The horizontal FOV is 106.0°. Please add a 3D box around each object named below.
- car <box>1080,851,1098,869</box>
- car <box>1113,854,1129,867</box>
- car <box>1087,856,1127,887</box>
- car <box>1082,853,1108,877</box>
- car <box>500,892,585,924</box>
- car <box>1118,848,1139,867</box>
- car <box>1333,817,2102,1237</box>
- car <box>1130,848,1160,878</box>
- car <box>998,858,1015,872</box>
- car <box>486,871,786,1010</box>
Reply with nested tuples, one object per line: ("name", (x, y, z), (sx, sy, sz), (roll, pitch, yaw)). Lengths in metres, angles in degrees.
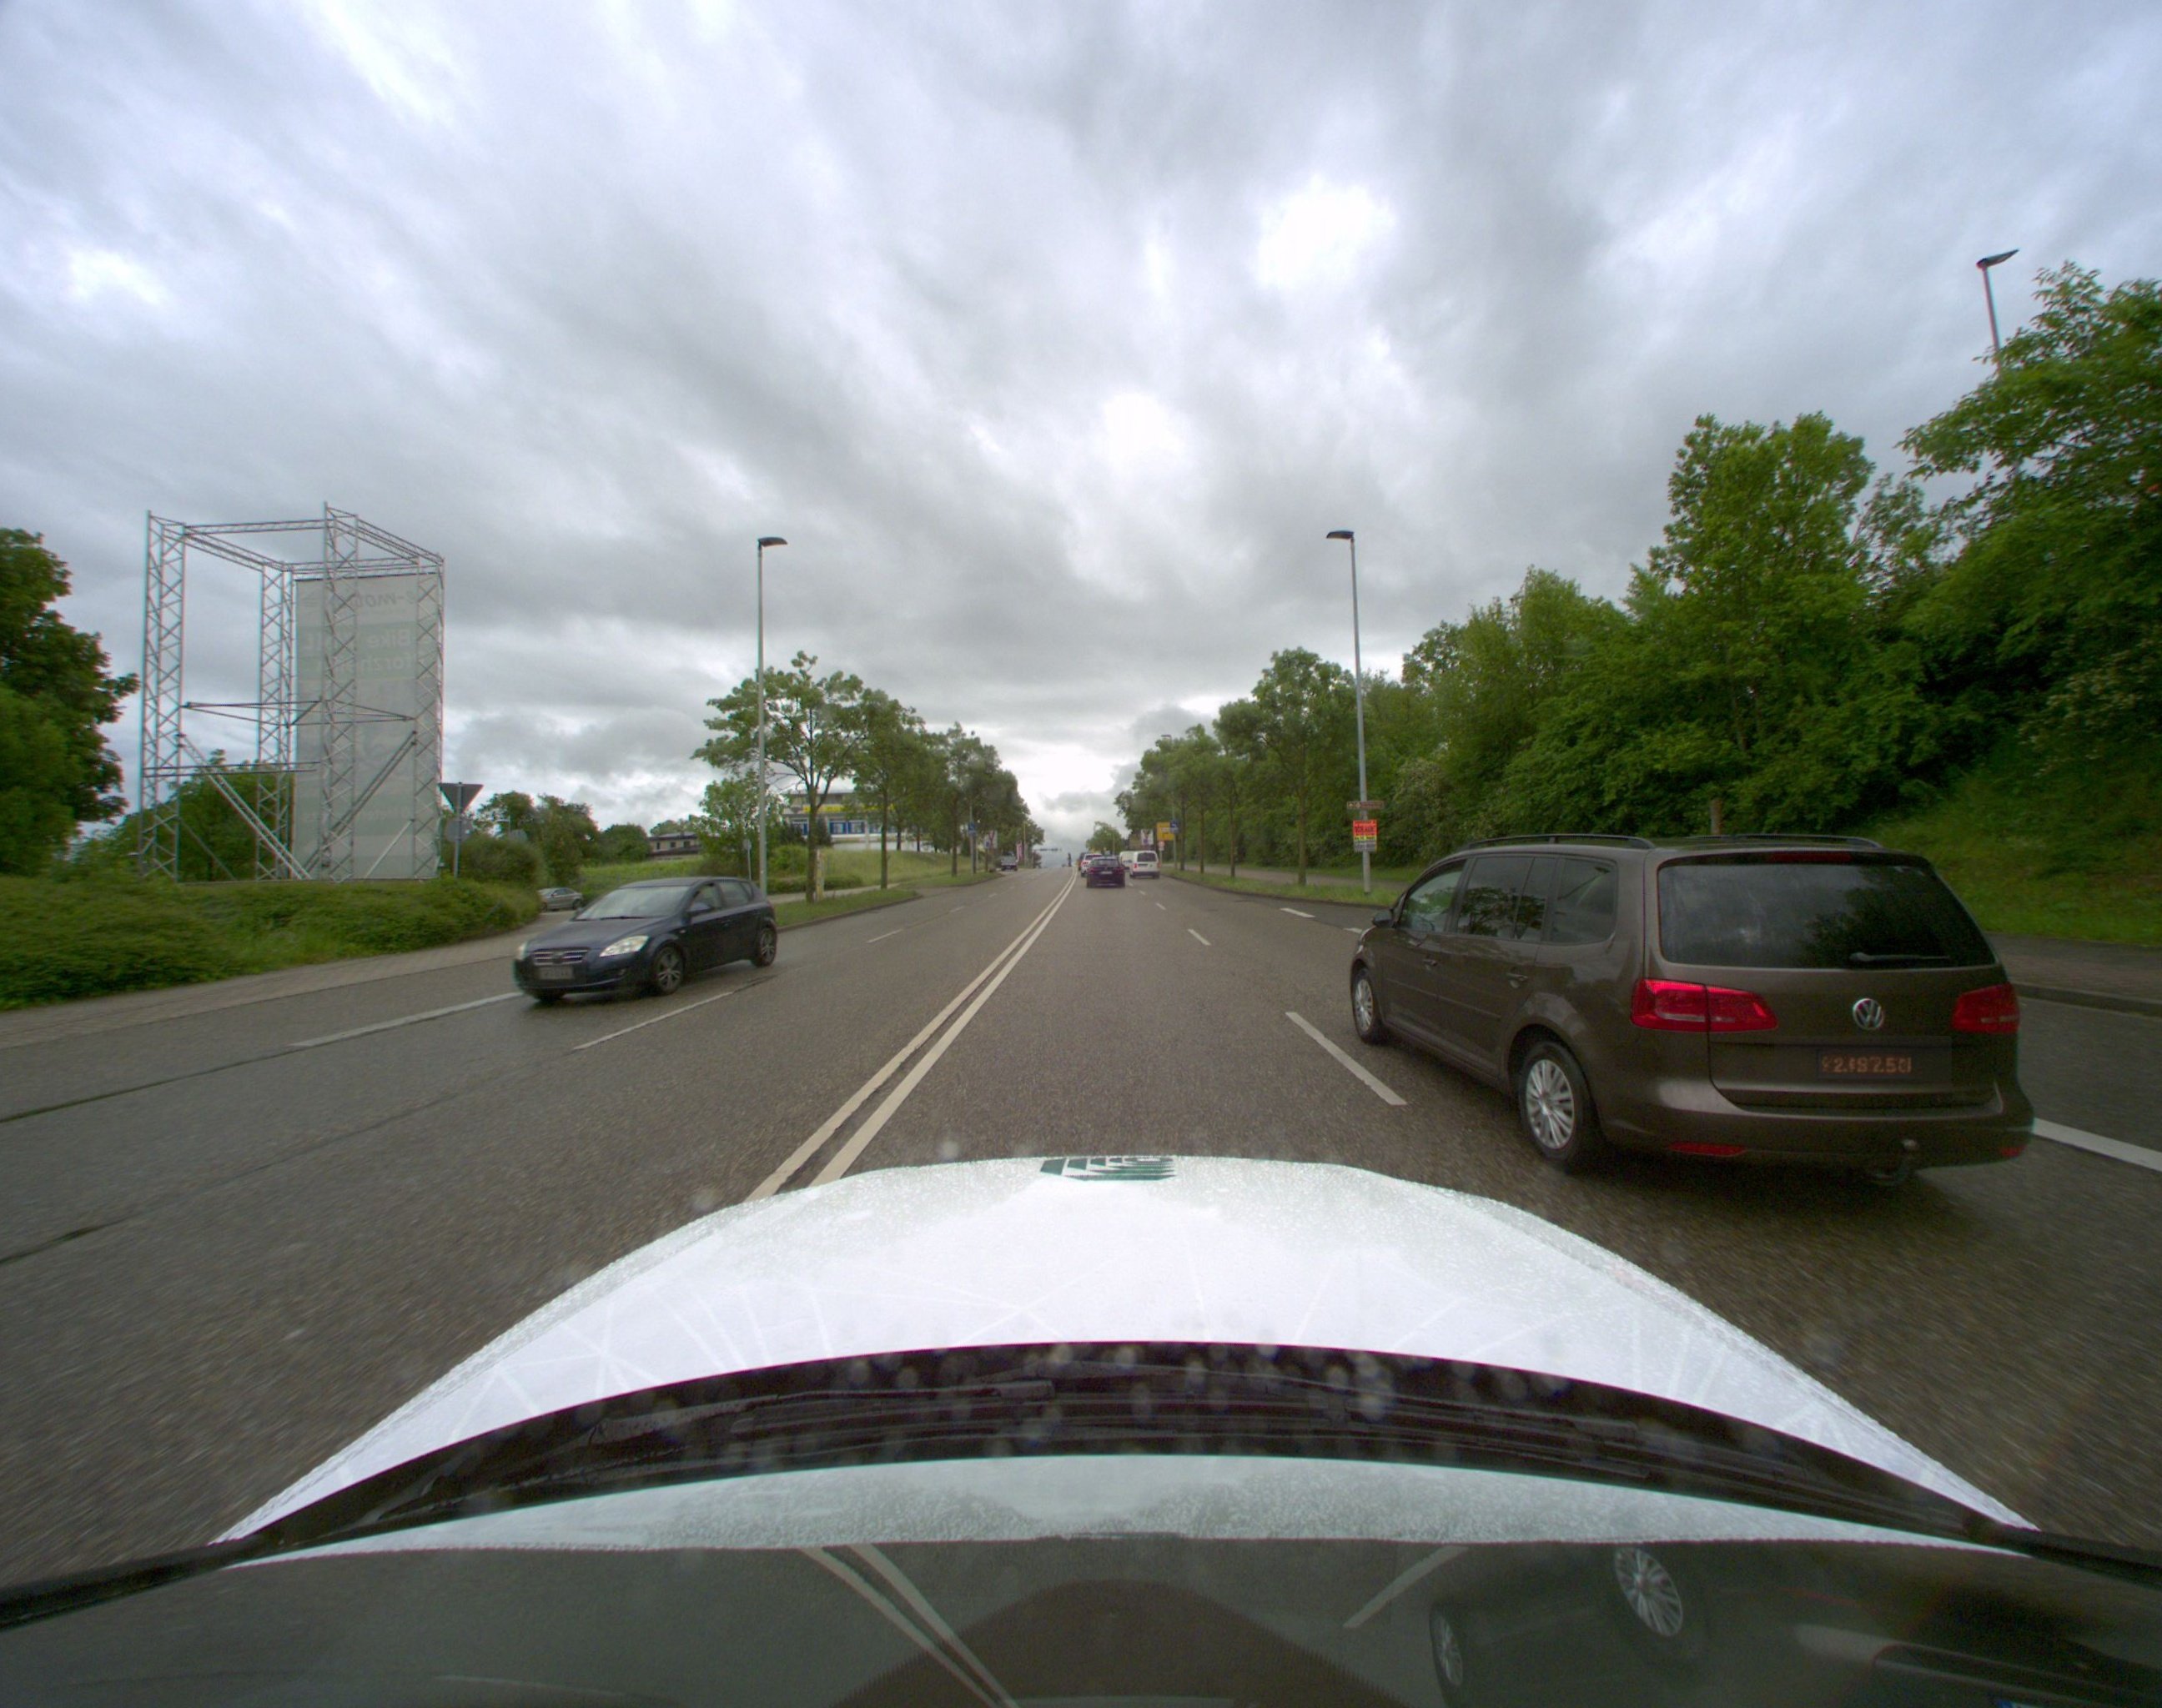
("car", (0.807, 0.612, 82.037), (1.752, 1.708, 3.946), (-2, 0, 1))
("car", (4.362, 0.743, 89.911), (1.595, 1.372, 3.680), (-2, 0, 1))
("car", (1.281, 0.831, 39.959), (1.848, 1.419, 3.958), (0, 0, 2))
("car", (1.030, 0.768, 58.749), (1.721, 1.711, 3.384), (0, 0, 2))
("car", (-31.882, 3.165, 48.358), (1.520, 1.614, 4.310), (-2, 0, 12))
("car", (4.361, 0.320, 75.332), (1.808, 1.708, 3.946), (-2, 0, 1))
("car", (3.097, 0.685, 5.211), (1.708, 1.596, 4.130), (-1, -1, 0))
("car", (4.196, 0.565, 53.508), (1.735, 1.869, 3.946), (0, 0, 1))
("car", (-8.983, 1.266, 98.537), (1.721, 1.668, 4.486), (0, 0, 0))
("car", (-5.957, 1.063, 11.556), (1.728, 1.454, 4.005), (-3, 0, 5))
